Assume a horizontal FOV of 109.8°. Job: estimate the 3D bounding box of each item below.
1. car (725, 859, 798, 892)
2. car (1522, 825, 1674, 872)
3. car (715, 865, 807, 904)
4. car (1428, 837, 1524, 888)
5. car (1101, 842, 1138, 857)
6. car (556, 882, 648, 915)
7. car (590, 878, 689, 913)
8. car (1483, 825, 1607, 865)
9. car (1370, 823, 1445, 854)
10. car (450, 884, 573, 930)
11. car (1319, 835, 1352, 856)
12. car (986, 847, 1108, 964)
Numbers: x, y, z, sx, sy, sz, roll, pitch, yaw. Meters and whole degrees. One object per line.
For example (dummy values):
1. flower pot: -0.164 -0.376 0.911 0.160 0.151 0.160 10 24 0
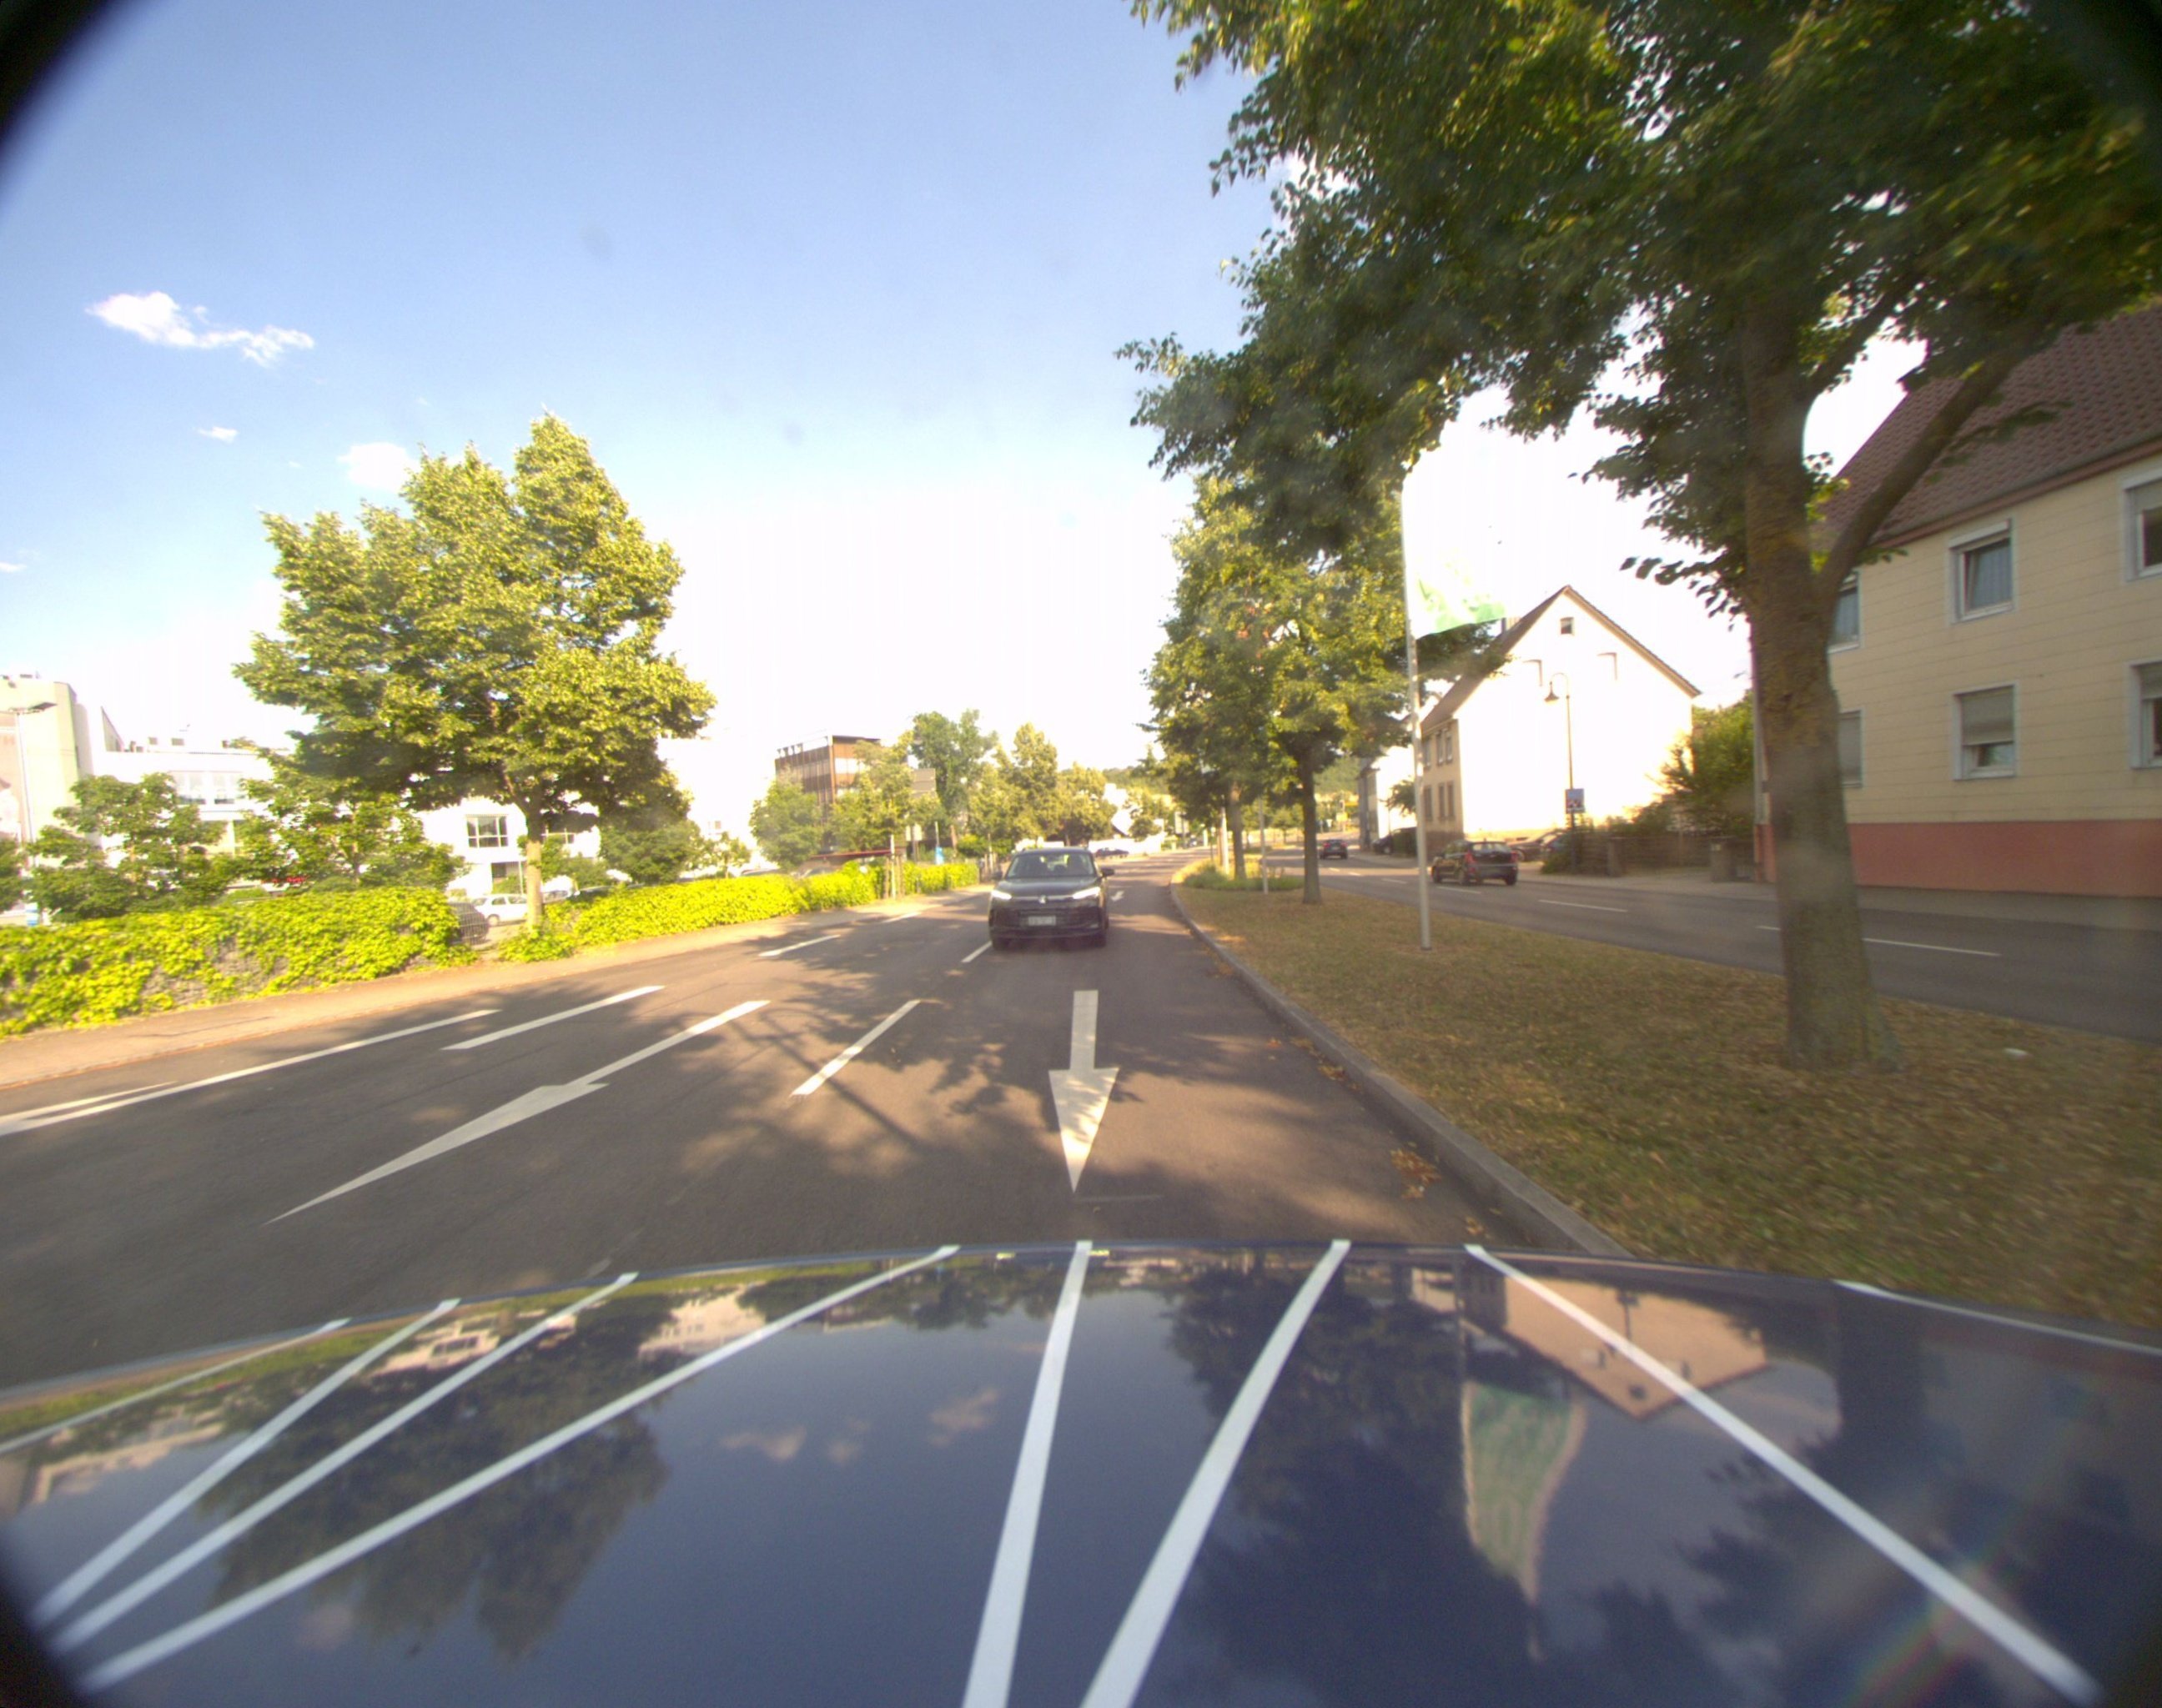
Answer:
1. car: -21.134 1.413 50.427 1.997 1.844 4.650 -3 1 13
2. car: 19.271 -0.188 28.580 4.351 1.477 1.949 -3 1 23
3. car: -16.362 1.525 39.177 1.997 1.523 4.551 -5 0 12
4. car: 12.823 0.228 24.881 1.608 1.477 3.786 -2 1 8
5. car: 4.439 -0.554 86.887 3.830 1.412 1.940 -3 1 18
6. car: -26.300 2.408 41.876 1.997 1.435 3.955 -3 1 12
7. car: -23.732 2.187 41.082 1.997 1.435 4.551 -3 1 12
8. car: 20.335 -0.403 33.528 4.351 1.477 2.014 -3 1 21
9. car: 24.402 -1.183 56.949 4.831 1.866 2.002 -5 1 17
10. car: -27.427 2.508 36.781 1.891 1.713 4.320 -6 0 18
11. car: 18.989 -0.647 56.852 1.943 1.477 4.328 -2 1 13
12. car: -0.542 0.732 13.251 1.725 1.605 4.259 -2 1 -1
